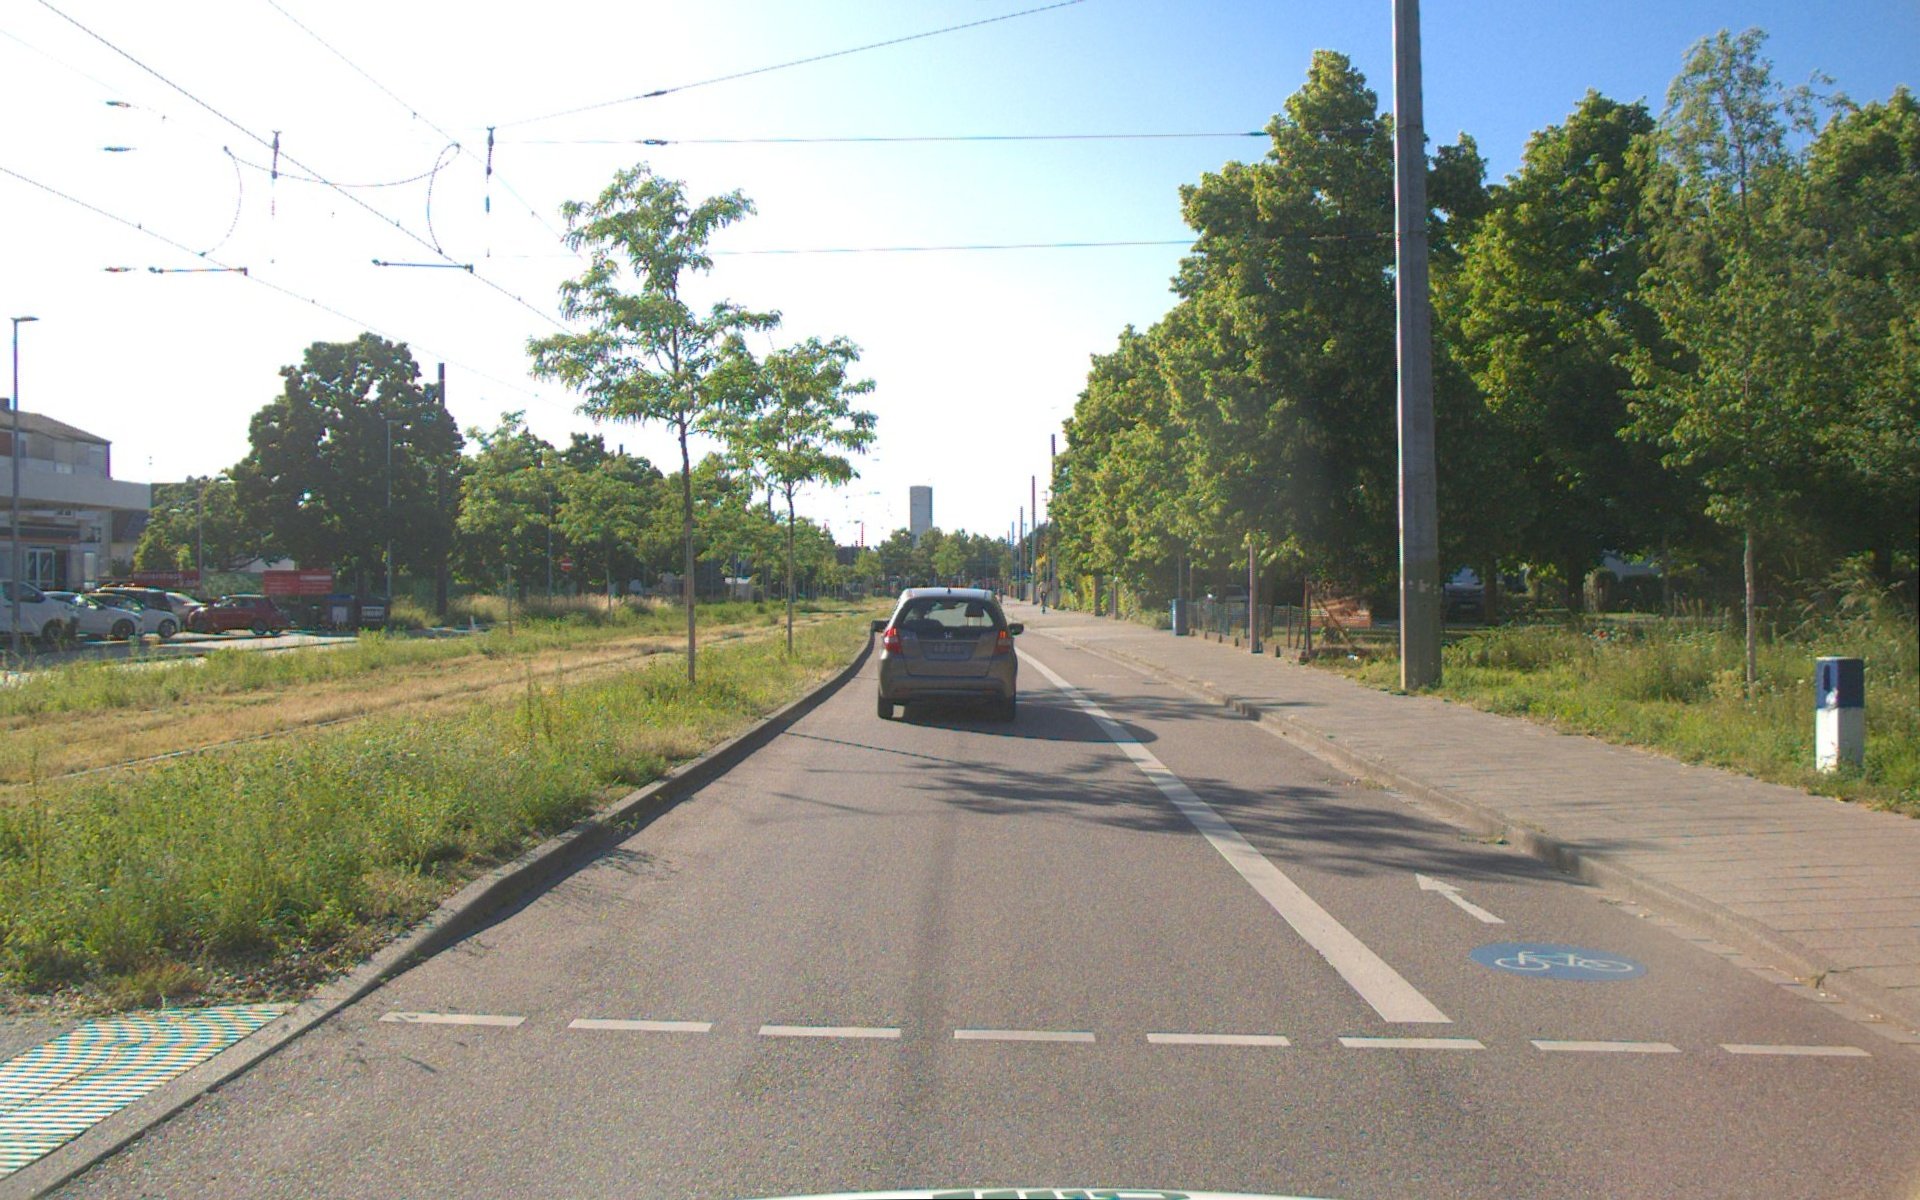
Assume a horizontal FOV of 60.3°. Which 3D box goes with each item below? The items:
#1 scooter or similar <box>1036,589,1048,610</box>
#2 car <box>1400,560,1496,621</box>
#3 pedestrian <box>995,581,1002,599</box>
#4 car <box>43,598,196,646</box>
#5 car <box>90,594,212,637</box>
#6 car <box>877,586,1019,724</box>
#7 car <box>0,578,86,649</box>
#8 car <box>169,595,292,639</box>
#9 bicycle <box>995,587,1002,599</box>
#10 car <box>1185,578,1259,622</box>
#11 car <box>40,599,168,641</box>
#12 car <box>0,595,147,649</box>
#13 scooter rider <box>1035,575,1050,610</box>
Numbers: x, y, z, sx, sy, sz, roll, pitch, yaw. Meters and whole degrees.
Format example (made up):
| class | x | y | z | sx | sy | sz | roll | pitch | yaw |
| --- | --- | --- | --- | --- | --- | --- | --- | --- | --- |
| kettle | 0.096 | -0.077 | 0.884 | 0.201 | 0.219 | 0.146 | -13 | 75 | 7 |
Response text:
| class | x | y | z | sx | sy | sz | roll | pitch | yaw |
| --- | --- | --- | --- | --- | --- | --- | --- | --- | --- |
| scooter or similar | 4.563 | -0.038 | 91.870 | 0.528 | 1.138 | 1.417 | -1 | 0 | -2 |
| car | 16.755 | -0.337 | 57.050 | 1.833 | 2.001 | 5.167 | 0 | 0 | 0 |
| pedestrian | 4.033 | -1.026 | 172.587 | 0.707 | 1.832 | 1.164 | -1 | 0 | -1 |
| car | -28.731 | 0.724 | 56.685 | 1.753 | 1.496 | 4.463 | -1 | 1 | 30 |
| car | -32.744 | 0.616 | 67.021 | 3.989 | 1.596 | 1.791 | -1 | 1 | -2 |
| car | -0.101 | 0.612 | 20.448 | 1.590 | 1.526 | 3.457 | 1 | 1 | 1 |
| car | -28.330 | 0.420 | 48.144 | 1.825 | 2.008 | 4.765 | -1 | 1 | 38 |
| car | -28.484 | 0.639 | 64.641 | 3.989 | 1.596 | 1.791 | -1 | 1 | -2 |
| bicycle | 4.012 | -0.733 | 172.661 | 0.502 | 1.263 | 3.089 | -1 | 0 | -1 |
| car | 9.026 | -0.005 | 57.174 | 1.739 | 1.411 | 3.868 | -2 | 0 | -3 |
| car | -33.043 | 0.766 | 63.922 | 3.989 | 1.470 | 1.791 | -1 | 1 | -2 |
| car | -28.416 | 0.664 | 52.429 | 1.757 | 1.554 | 4.451 | -1 | 1 | 38 |
| scooter rider | 4.586 | -0.434 | 91.850 | 0.701 | 1.934 | 0.934 | -1 | 0 | -2 |
